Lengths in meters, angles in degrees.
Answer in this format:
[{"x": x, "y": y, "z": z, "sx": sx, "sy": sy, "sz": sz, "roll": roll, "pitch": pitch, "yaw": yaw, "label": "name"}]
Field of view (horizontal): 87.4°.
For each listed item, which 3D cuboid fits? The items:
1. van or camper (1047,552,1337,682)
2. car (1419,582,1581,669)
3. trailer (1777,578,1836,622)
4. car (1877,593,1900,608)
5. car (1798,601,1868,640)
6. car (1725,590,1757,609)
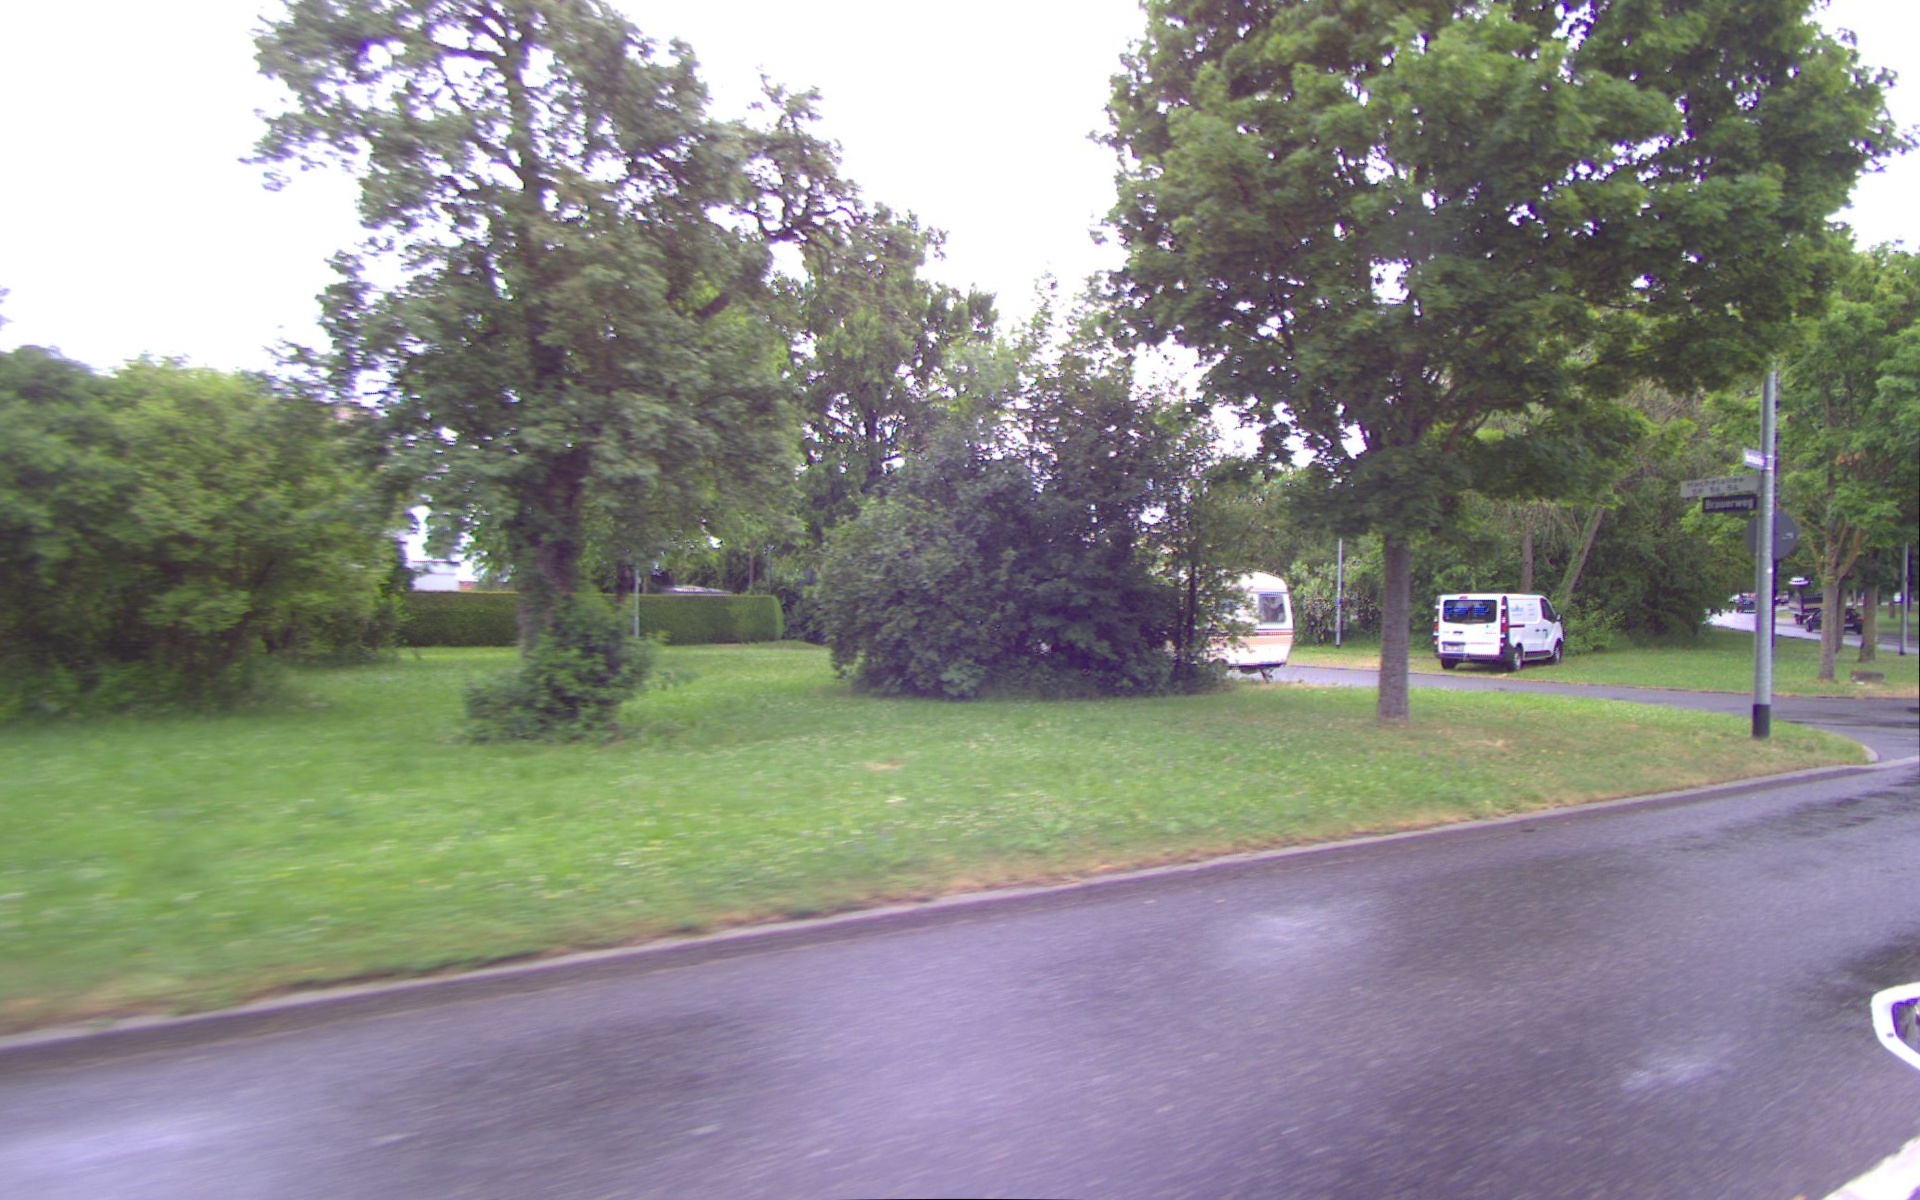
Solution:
[{"x": 5.122, "y": 0.384, "z": 21.456, "sx": 6.751, "sy": 2.392, "sz": 2.366, "roll": 1, "pitch": -1, "yaw": -38, "label": "van or camper"}, {"x": 14.769, "y": 0.607, "z": 27.318, "sx": 5.432, "sy": 2.013, "sz": 2.109, "roll": -3, "pitch": 1, "yaw": -42, "label": "car"}, {"x": 59.345, "y": -0.023, "z": 70.540, "sx": 1.965, "sy": 2.845, "sz": 5.597, "roll": -5, "pitch": -2, "yaw": 29, "label": "trailer"}, {"x": 122.815, "y": 0.012, "z": 132.826, "sx": 3.972, "sy": 1.832, "sz": 1.974, "roll": 1, "pitch": 2, "yaw": -44, "label": "car"}, {"x": 49.756, "y": 1.121, "z": 57.361, "sx": 1.871, "sy": 2.041, "sz": 3.941, "roll": 3, "pitch": 2, "yaw": 25, "label": "car"}, {"x": 74.205, "y": -0.050, "z": 95.506, "sx": 1.763, "sy": 1.558, "sz": 4.083, "roll": 4, "pitch": 3, "yaw": 30, "label": "car"}]
